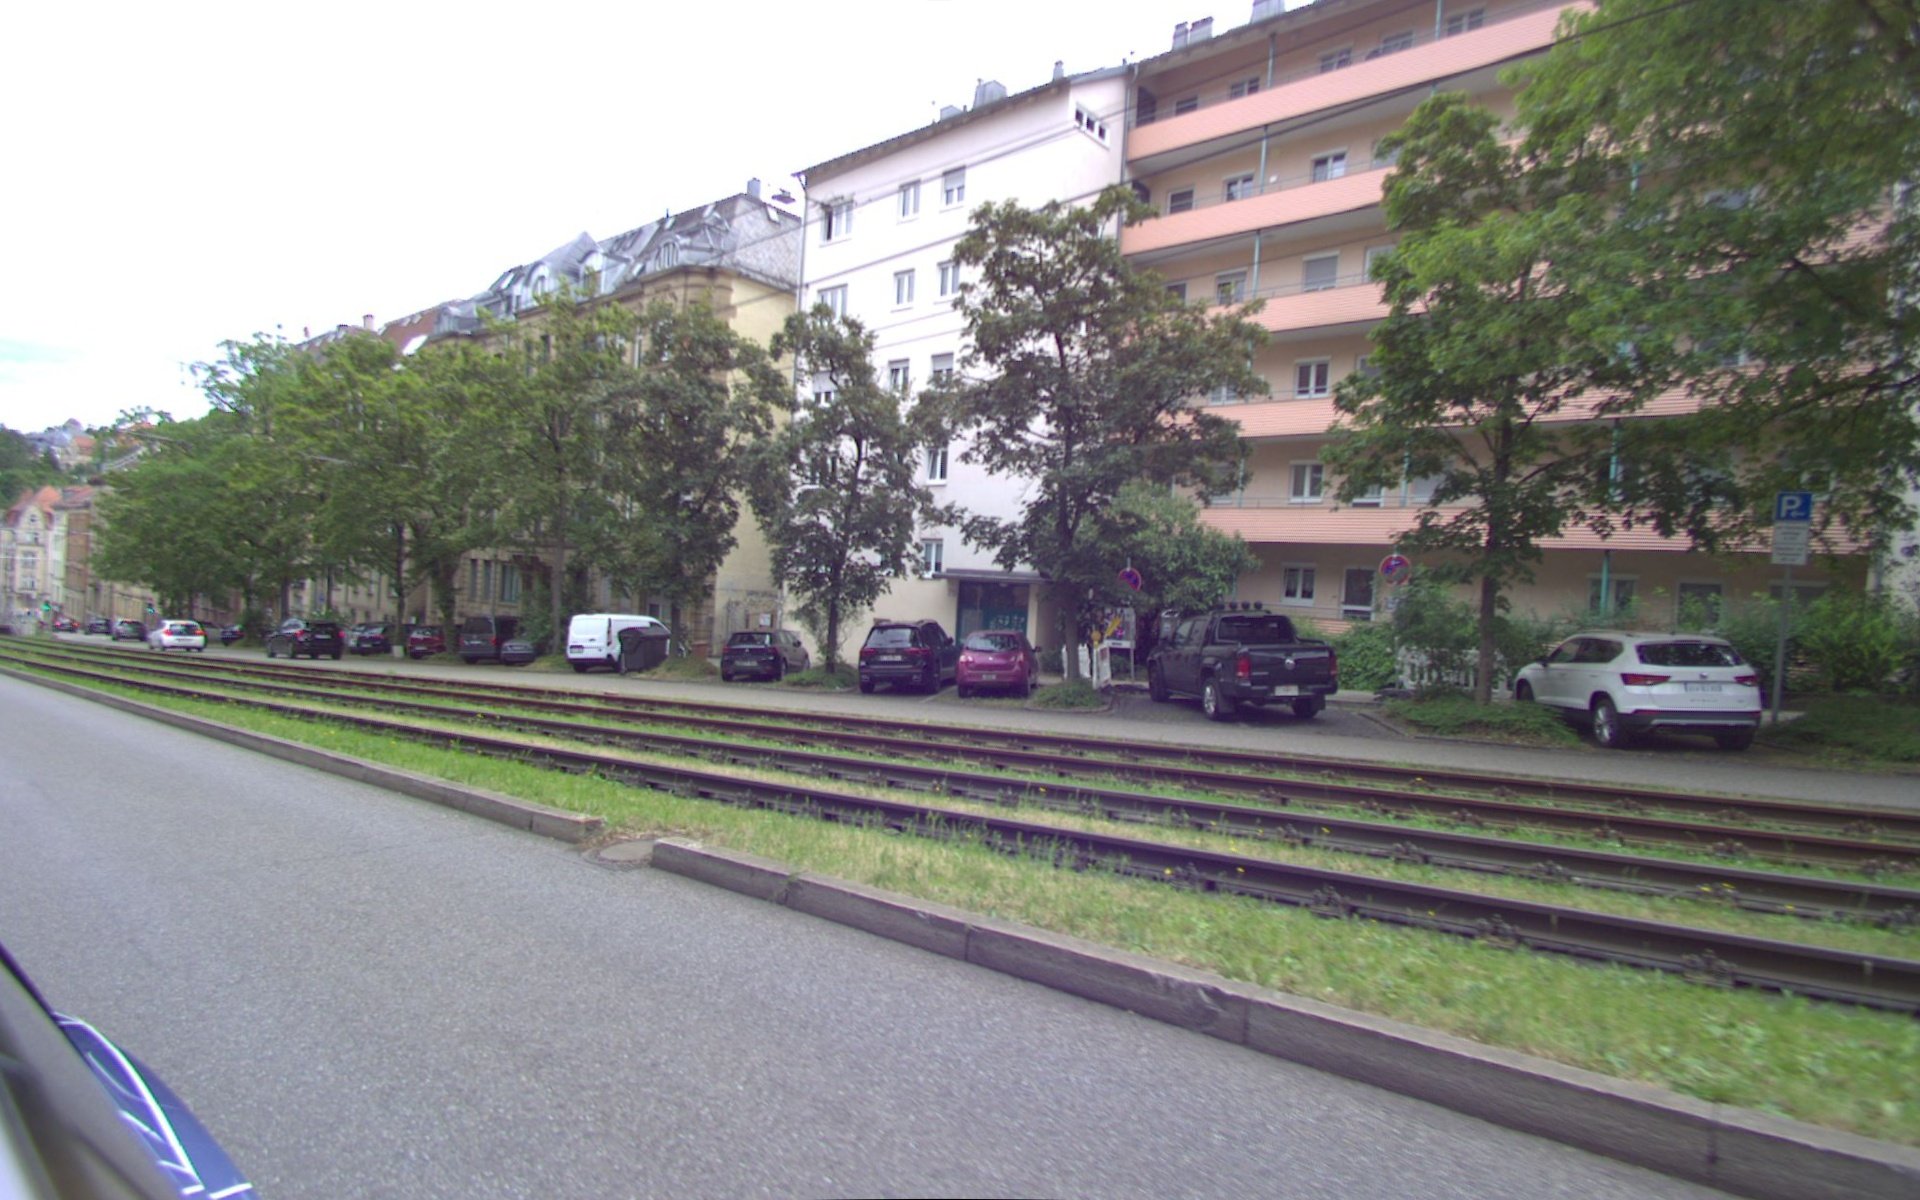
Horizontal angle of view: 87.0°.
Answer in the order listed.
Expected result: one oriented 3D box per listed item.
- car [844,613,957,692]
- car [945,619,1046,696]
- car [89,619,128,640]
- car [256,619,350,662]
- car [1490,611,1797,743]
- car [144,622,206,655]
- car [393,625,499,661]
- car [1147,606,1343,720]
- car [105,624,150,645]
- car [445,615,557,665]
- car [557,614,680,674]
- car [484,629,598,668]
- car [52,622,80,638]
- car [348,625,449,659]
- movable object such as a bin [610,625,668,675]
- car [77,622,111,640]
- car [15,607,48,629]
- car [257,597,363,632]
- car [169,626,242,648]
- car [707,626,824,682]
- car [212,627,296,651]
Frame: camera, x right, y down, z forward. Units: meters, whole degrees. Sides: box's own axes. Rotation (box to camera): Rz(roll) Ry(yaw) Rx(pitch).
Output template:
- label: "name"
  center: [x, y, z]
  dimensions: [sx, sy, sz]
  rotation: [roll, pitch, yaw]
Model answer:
- label: "car"
  center: [-1.336, 1.196, 24.746]
  dimensions: [1.913, 1.694, 4.596]
  rotation: [-1, 0, 8]
- label: "car"
  center: [0.939, 1.269, 23.859]
  dimensions: [1.913, 1.560, 4.596]
  rotation: [-1, 0, 8]
- label: "car"
  center: [-69.039, 2.382, 82.014]
  dimensions: [4.344, 1.629, 1.761]
  rotation: [-1, -4, 41]
- label: "car"
  center: [-26.569, 1.637, 40.879]
  dimensions: [4.604, 1.662, 1.897]
  rotation: [-1, -4, 41]
- label: "car"
  center: [9.922, 1.007, 15.236]
  dimensions: [1.913, 1.629, 4.597]
  rotation: [-1, 0, 7]
- label: "car"
  center: [-36.538, 1.785, 47.085]
  dimensions: [3.410, 1.446, 1.571]
  rotation: [-1, -4, 40]
- label: "car"
  center: [-21.824, 1.792, 43.129]
  dimensions: [1.852, 1.446, 4.176]
  rotation: [0, -2, 11]
- label: "car"
  center: [5.078, 1.031, 18.791]
  dimensions: [1.906, 1.811, 4.613]
  rotation: [-1, 0, -6]
- label: "car"
  center: [-59.139, 2.467, 71.855]
  dimensions: [4.595, 1.421, 1.706]
  rotation: [-1, -4, 41]
- label: "car"
  center: [-17.545, 1.516, 38.925]
  dimensions: [1.852, 1.781, 4.176]
  rotation: [0, -2, 11]
- label: "car"
  center: [-11.130, 1.406, 33.307]
  dimensions: [1.854, 1.850, 4.172]
  rotation: [0, -2, 14]
- label: "car"
  center: [-15.326, 1.751, 37.269]
  dimensions: [1.852, 1.350, 4.176]
  rotation: [0, -2, 11]
- label: "car"
  center: [-96.542, 3.245, 109.305]
  dimensions: [4.472, 1.663, 1.859]
  rotation: [-2, -4, 44]
- label: "car"
  center: [-25.747, 1.909, 46.588]
  dimensions: [1.851, 1.446, 4.177]
  rotation: [0, -2, 11]
- label: "movable object such as a bin"
  center: [-9.513, 1.453, 30.030]
  dimensions: [1.090, 1.411, 1.267]
  rotation: [-1, -1, 25]
- label: "car"
  center: [-81.035, 2.896, 94.652]
  dimensions: [4.241, 1.669, 1.761]
  rotation: [-1, -4, 41]
- label: "car"
  center: [-118.211, 2.309, 128.771]
  dimensions: [6.516, 2.720, 2.367]
  rotation: [-1, -4, 42]
- label: "car"
  center: [-30.576, 0.730, 47.733]
  dimensions: [1.851, 1.585, 4.177]
  rotation: [0, -2, 10]
- label: "car"
  center: [-52.677, 2.571, 70.764]
  dimensions: [1.766, 1.433, 3.988]
  rotation: [0, -1, 9]
- label: "car"
  center: [-5.425, 1.469, 28.829]
  dimensions: [1.913, 1.355, 4.596]
  rotation: [-1, 0, 8]
- label: "car"
  center: [-42.517, 2.307, 61.066]
  dimensions: [1.694, 1.375, 4.169]
  rotation: [0, -1, 11]
